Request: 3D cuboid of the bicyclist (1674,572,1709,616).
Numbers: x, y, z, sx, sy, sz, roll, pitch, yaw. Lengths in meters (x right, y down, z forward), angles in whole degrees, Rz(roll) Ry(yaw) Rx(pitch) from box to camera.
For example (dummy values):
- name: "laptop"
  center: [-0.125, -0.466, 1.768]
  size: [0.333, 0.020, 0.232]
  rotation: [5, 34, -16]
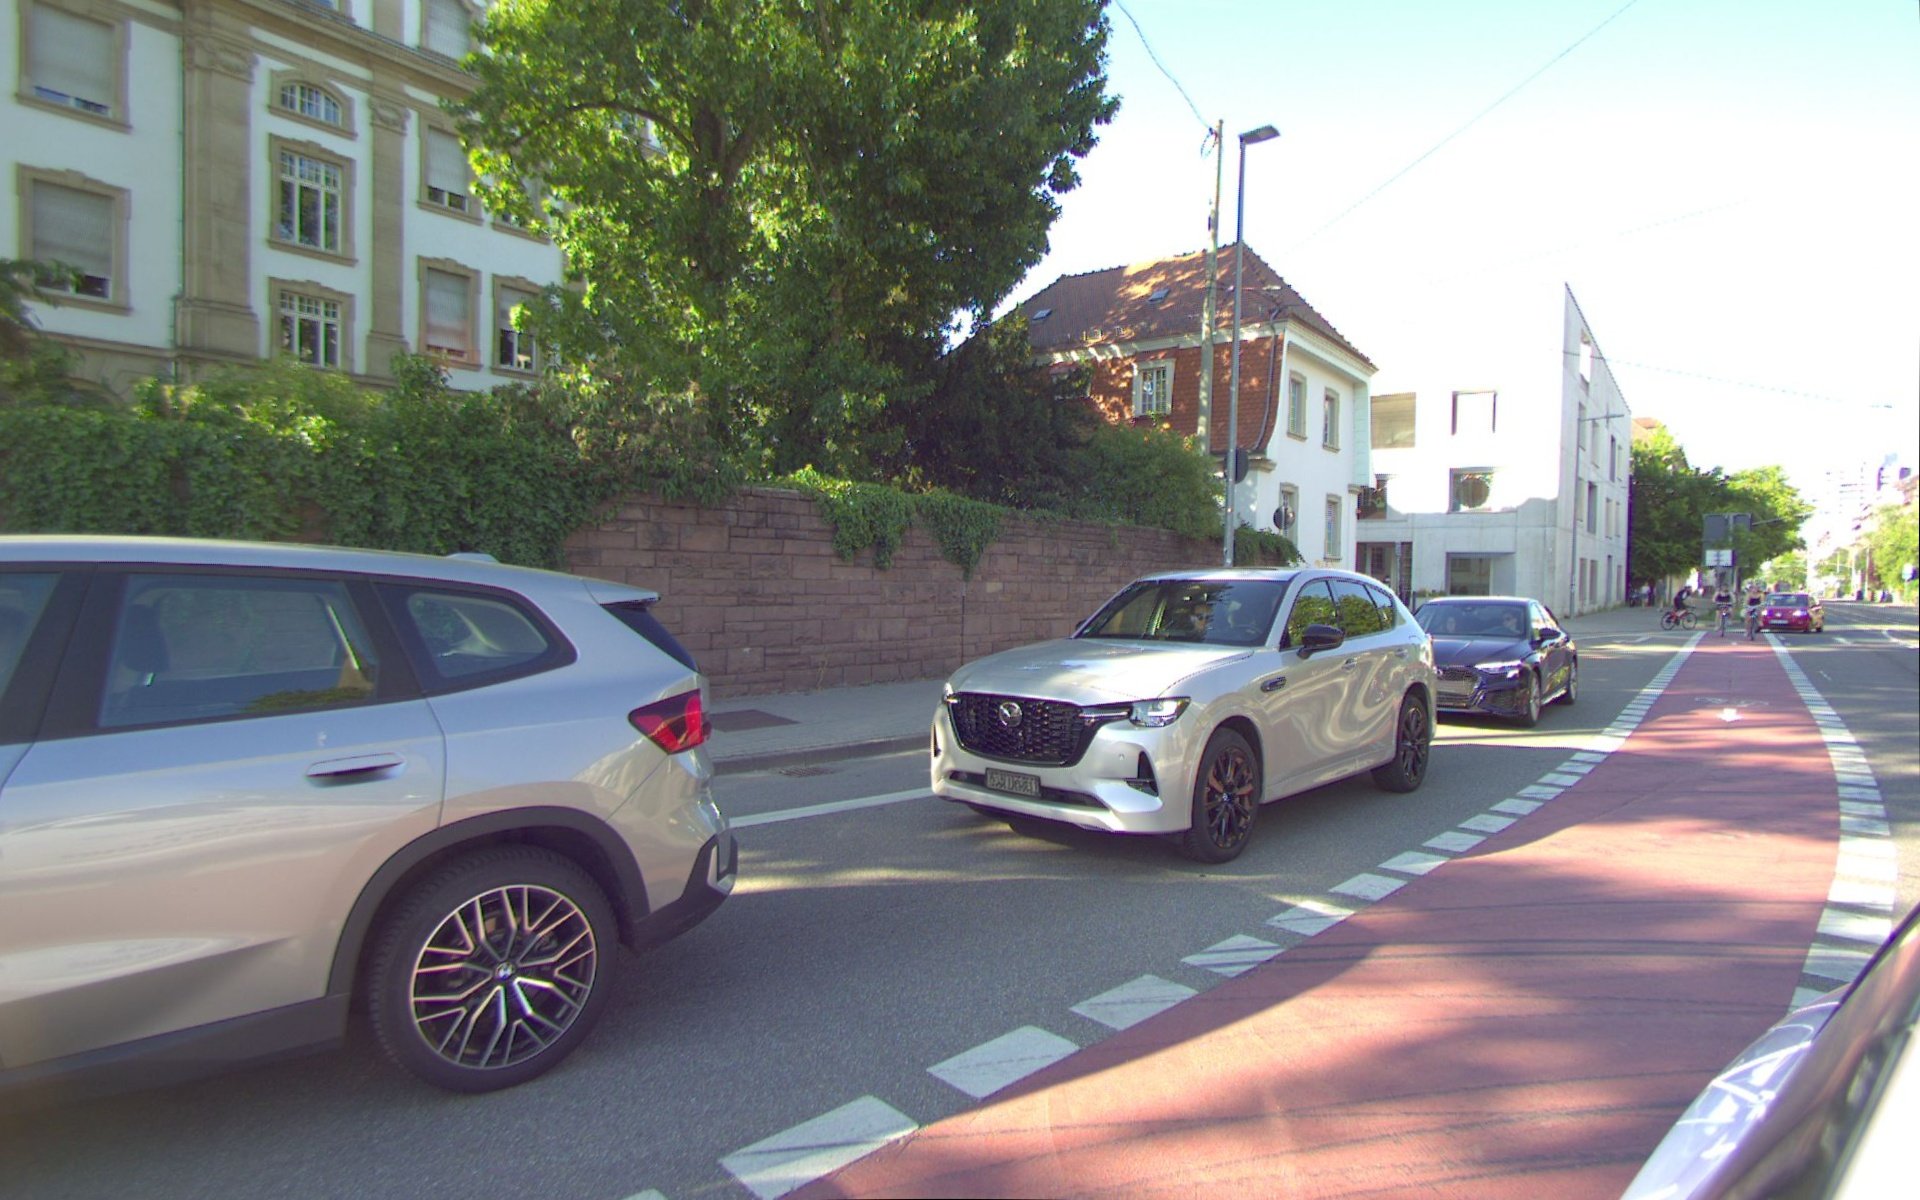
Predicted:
- name: "bicyclist"
  center: [28.643, -0.245, 39.624]
  size: [1.008, 1.667, 0.677]
  rotation: [0, 2, -25]

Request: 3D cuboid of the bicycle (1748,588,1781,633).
- name: "bicycle"
  center: [23.738, 0.280, 29.860]
  size: [0.673, 1.265, 2.421]
  rotation: [2, 2, 40]

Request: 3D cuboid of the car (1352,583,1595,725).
- name: "car"
  center: [6.414, 0.526, 12.437]
  size: [1.782, 1.451, 3.941]
  rotation: [0, 1, 41]

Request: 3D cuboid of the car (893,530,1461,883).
- name: "car"
  center: [1.811, 0.492, 7.227]
  size: [1.940, 1.713, 4.460]
  rotation: [0, 1, 44]

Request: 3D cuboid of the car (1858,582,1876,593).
- name: "car"
  center: [137.743, -1.925, 153.730]
  size: [1.640, 1.580, 3.602]
  rotation: [0, 0, 36]

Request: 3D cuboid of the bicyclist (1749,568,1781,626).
- name: "bicyclist"
  center: [23.751, -0.109, 29.858]
  size: [0.673, 1.667, 1.014]
  rotation: [2, 2, 40]

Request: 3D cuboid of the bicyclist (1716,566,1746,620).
- name: "bicyclist"
  center: [24.293, -0.229, 31.882]
  size: [0.673, 1.667, 1.014]
  rotation: [2, 2, 40]

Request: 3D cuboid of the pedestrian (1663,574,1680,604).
- name: "pedestrian"
  center: [40.496, -0.631, 57.607]
  size: [0.673, 1.668, 0.806]
  rotation: [1, 1, 40]

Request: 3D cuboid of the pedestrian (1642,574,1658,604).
- name: "pedestrian"
  center: [39.737, -0.634, 58.254]
  size: [0.673, 1.668, 0.806]
  rotation: [1, 1, 40]

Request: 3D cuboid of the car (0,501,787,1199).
- name: "car"
  center: [-2.830, 0.577, 2.956]
  size: [4.248, 1.614, 1.792]
  rotation: [0, 0, -36]

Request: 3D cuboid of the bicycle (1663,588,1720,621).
- name: "bicycle"
  center: [28.664, 0.185, 39.647]
  size: [2.406, 1.266, 0.678]
  rotation: [0, 2, -25]

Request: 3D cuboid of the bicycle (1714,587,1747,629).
- name: "bicycle"
  center: [24.315, 0.234, 31.930]
  size: [0.673, 1.265, 2.421]
  rotation: [2, 2, 40]

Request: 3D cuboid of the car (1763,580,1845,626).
- name: "car"
  center: [30.289, 0.076, 36.301]
  size: [3.585, 1.580, 1.648]
  rotation: [-1, 0, -40]
